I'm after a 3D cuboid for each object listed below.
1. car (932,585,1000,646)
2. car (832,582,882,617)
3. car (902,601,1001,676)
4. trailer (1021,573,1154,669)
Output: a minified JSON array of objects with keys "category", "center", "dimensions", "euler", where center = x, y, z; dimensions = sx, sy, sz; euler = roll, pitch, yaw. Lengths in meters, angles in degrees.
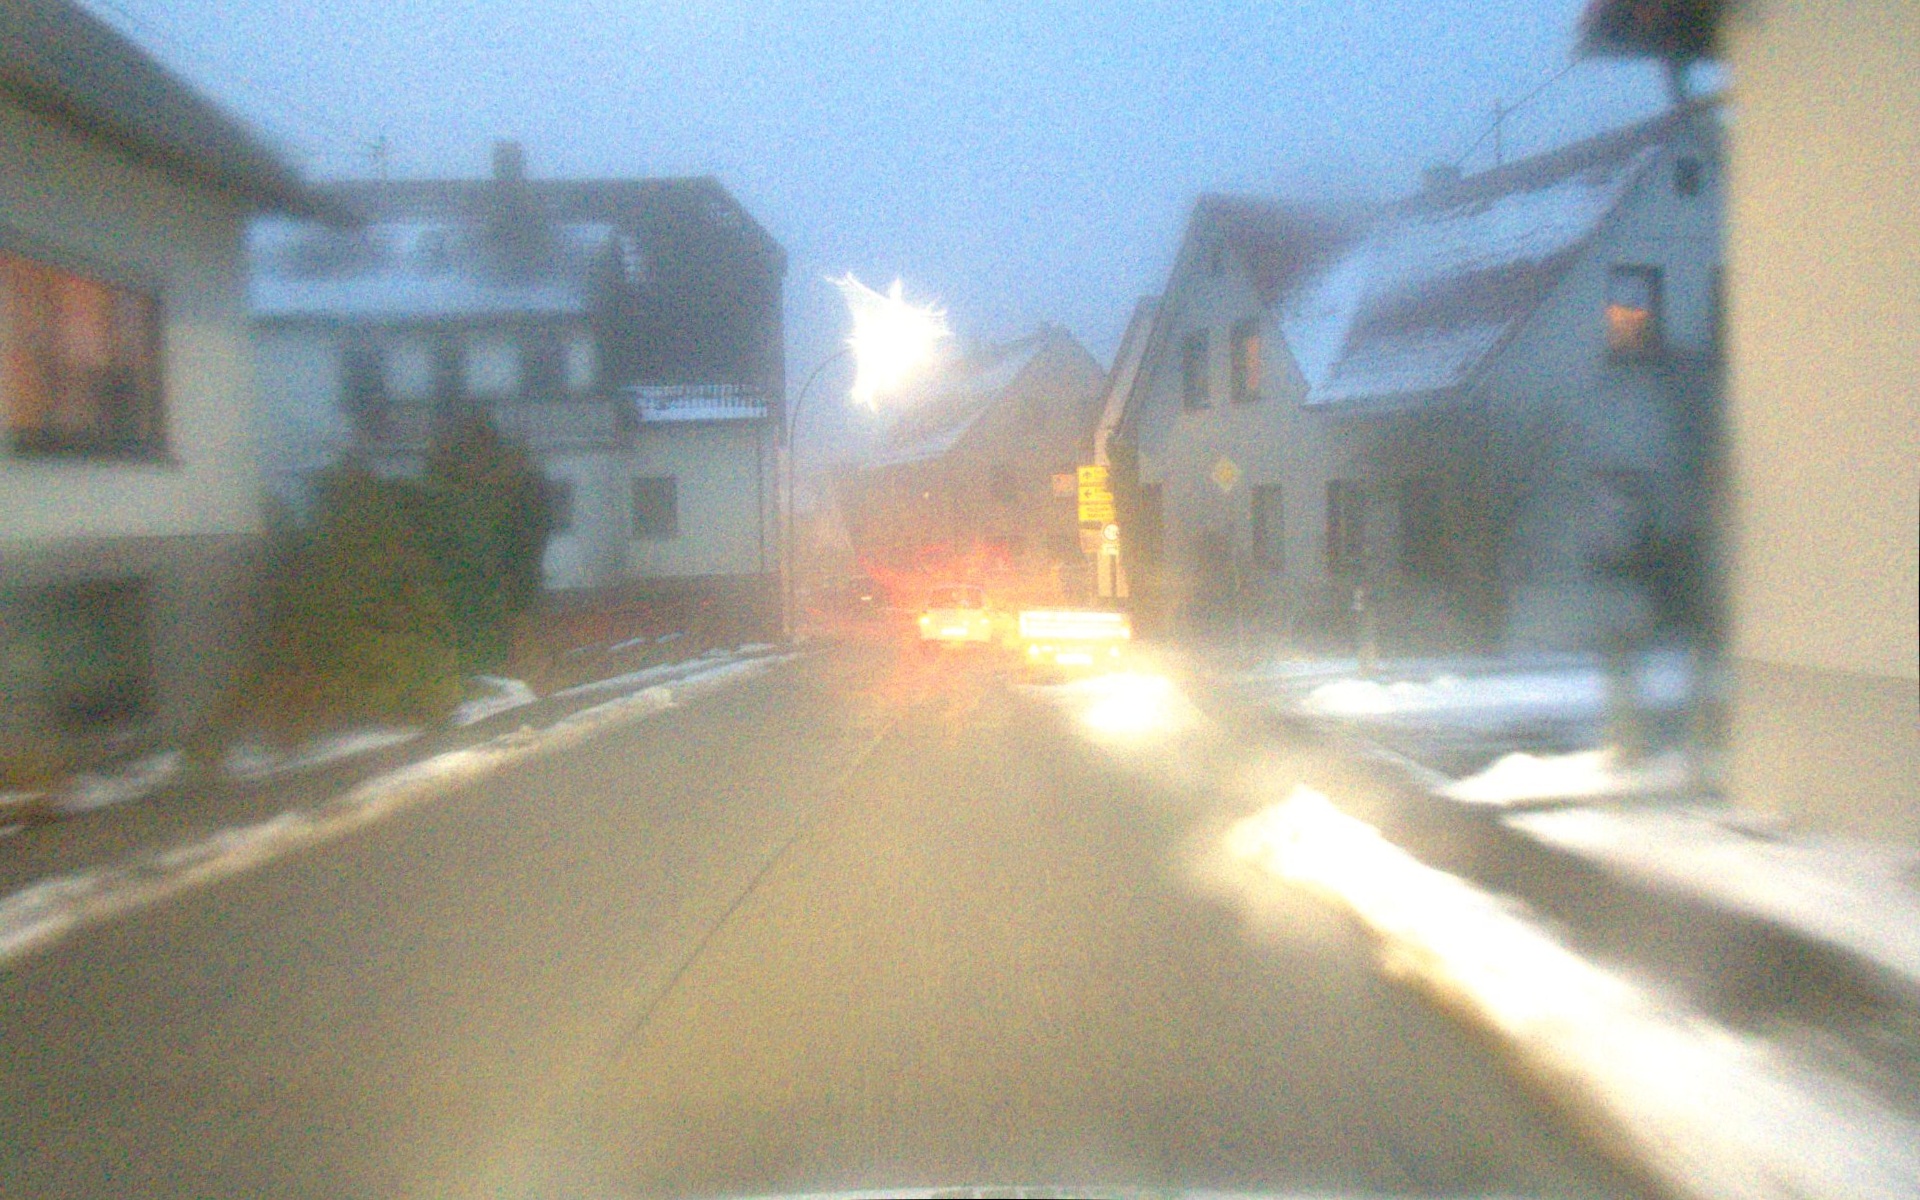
[{"category":"car","center":[0.198,0.457,49.511],"dimensions":[1.952,1.758,4.000],"euler":[0,-1,1]},{"category":"car","center":[-4.815,-0.039,76.790],"dimensions":[1.876,1.506,4.272],"euler":[-2,1,-10]},{"category":"car","center":[-0.122,0.801,35.782],"dimensions":[1.952,1.534,4.001],"euler":[0,-1,2]},{"category":"trailer","center":[2.018,0.277,26.827],"dimensions":[1.952,1.412,4.734],"euler":[0,1,3]}]
